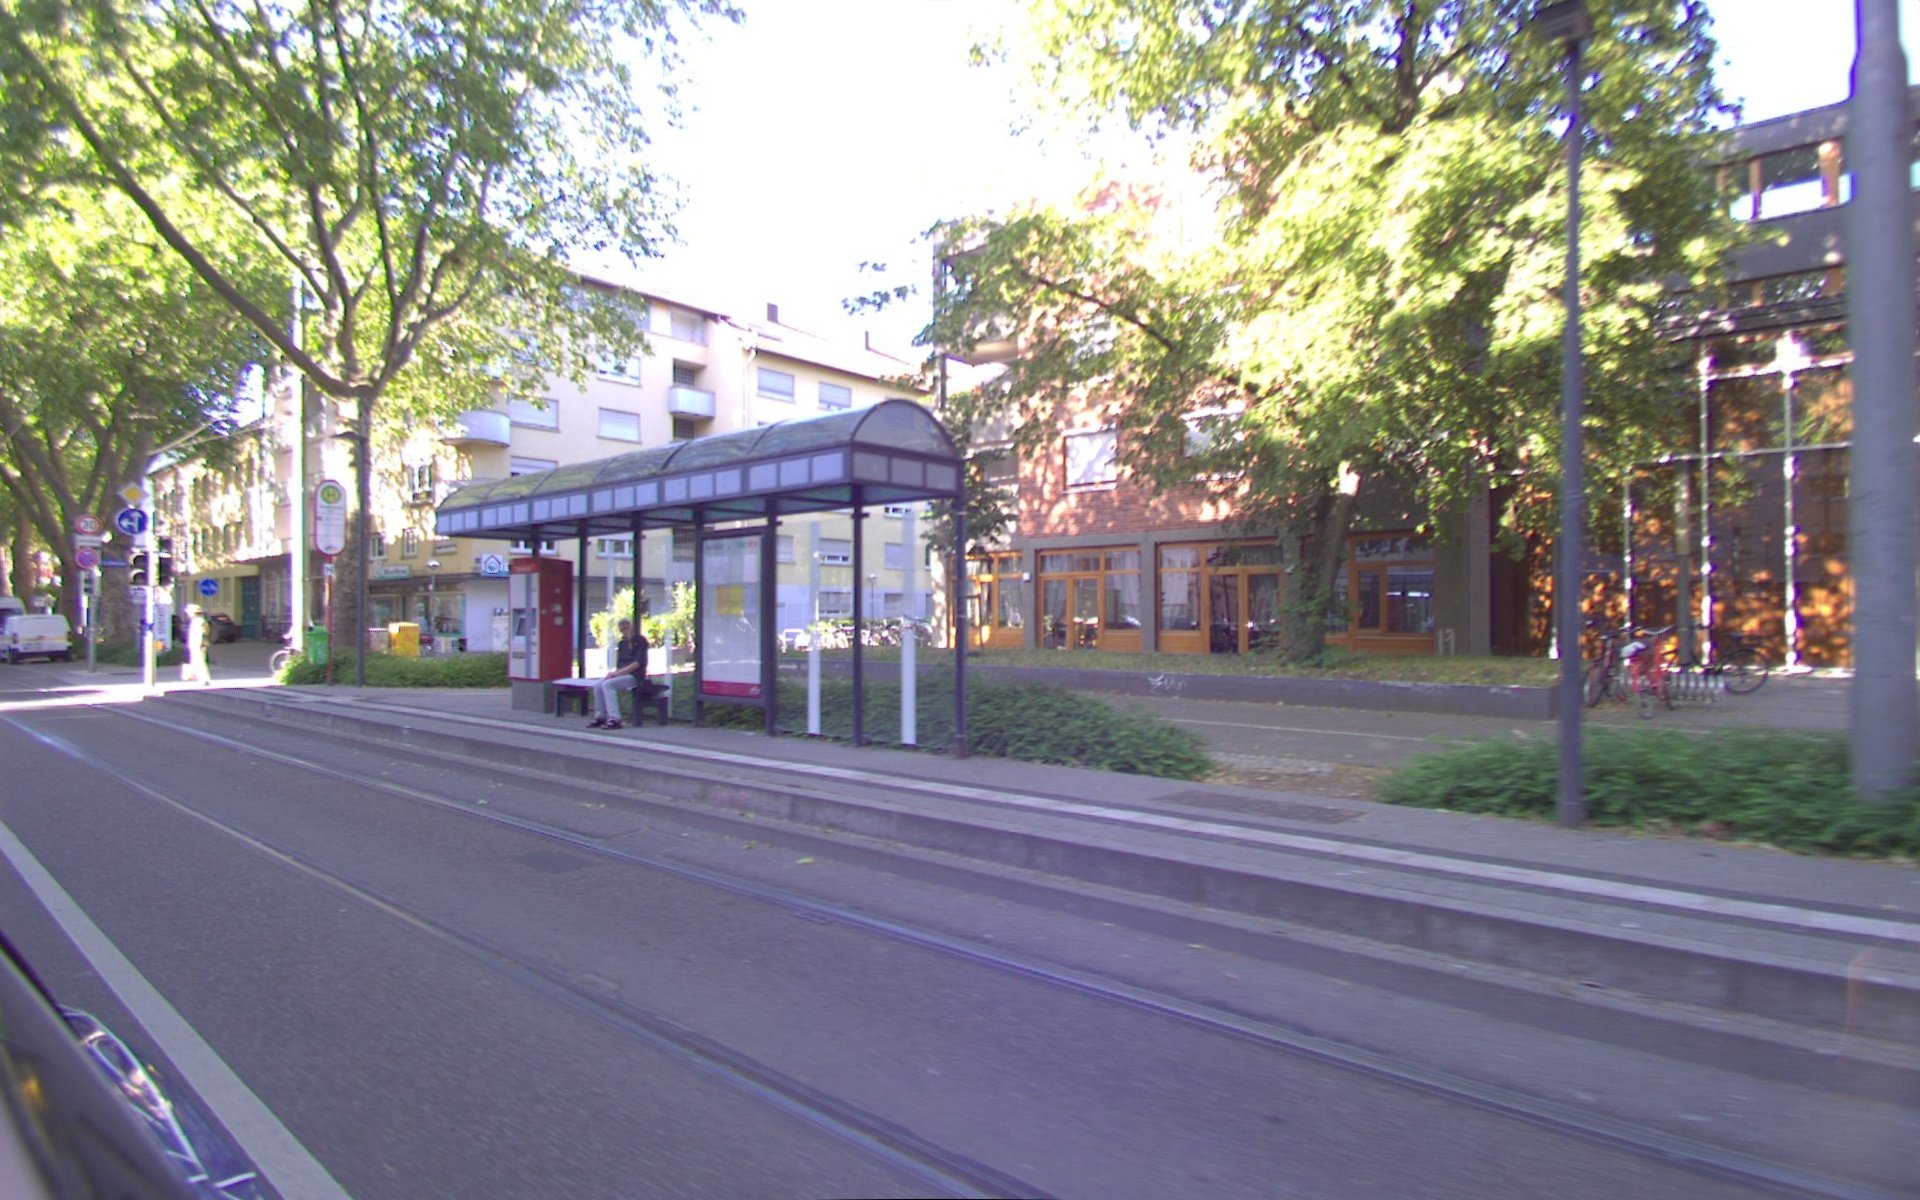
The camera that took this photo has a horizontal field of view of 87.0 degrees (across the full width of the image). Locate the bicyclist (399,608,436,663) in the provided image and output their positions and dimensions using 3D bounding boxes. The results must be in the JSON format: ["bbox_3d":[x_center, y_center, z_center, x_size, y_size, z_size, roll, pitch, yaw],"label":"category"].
[{"bbox_3d":[-18.008,1.164,33.597,0.996,1.763,0.767,-1,0,39],"label":"bicyclist"}]

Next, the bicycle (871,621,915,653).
[{"bbox_3d":[-2.386,1.305,36.089,1.637,1.092,0.536,-1,0,40],"label":"bicycle"}]

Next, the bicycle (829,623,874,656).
[{"bbox_3d":[-3.695,1.345,34.518,1.637,1.092,0.536,-1,0,40],"label":"bicycle"}]

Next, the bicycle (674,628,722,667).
[{"bbox_3d":[-7.804,1.426,30.120,1.535,1.092,0.536,-4,-3,40],"label":"bicycle"}]

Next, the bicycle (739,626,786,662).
[{"bbox_3d":[-6.208,1.384,31.775,1.637,1.092,0.536,-3,-2,40],"label":"bicycle"}]

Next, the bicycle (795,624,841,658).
[{"bbox_3d":[-4.726,1.353,33.533,1.637,1.092,0.536,-2,-2,40],"label":"bicycle"}]

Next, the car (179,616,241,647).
[{"bbox_3d":[-44.461,1.815,59.966,4.896,1.746,1.973,-1,0,42],"label":"car"}]

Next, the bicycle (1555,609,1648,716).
[{"bbox_3d":[8.611,0.782,13.532,0.682,1.228,2.432,-1,1,41],"label":"bicycle"}]

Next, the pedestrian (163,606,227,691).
[{"bbox_3d":[-17.073,1.060,22.584,0.918,1.849,0.915,-1,0,37],"label":"pedestrian"}]

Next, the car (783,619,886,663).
[{"bbox_3d":[-5.088,1.611,41.383,1.959,1.674,3.947,-1,-1,40],"label":"car"}]

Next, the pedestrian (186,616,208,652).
[{"bbox_3d":[-40.391,1.778,53.591,0.863,1.883,0.737,-1,0,39],"label":"pedestrian"}]

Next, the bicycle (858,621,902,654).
[{"bbox_3d":[-2.814,1.305,35.510,1.637,1.092,0.536,-1,0,40],"label":"bicycle"}]

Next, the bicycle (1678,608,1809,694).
[{"bbox_3d":[11.699,0.744,15.135,1.477,1.228,0.683,-1,0,-7],"label":"bicycle"}]

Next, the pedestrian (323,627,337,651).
[{"bbox_3d":[-30.150,1.847,48.405,0.436,1.114,0.417,-1,0,31],"label":"pedestrian"}]

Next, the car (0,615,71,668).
[{"bbox_3d":[-35.100,1.511,38.102,4.314,1.864,1.746,-1,0,39],"label":"car"}]

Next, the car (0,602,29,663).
[{"bbox_3d":[-43.379,1.424,45.267,6.024,2.597,2.085,-1,0,43],"label":"car"}]

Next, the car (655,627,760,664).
[{"bbox_3d":[-10.789,1.918,43.393,1.998,1.386,3.947,-1,0,40],"label":"car"}]

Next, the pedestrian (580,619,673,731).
[{"bbox_3d":[-3.652,0.801,11.089,0.658,1.177,0.698,-1,-2,38],"label":"pedestrian"}]

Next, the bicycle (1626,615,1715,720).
[{"bbox_3d":[9.115,0.808,12.945,0.682,1.175,2.316,-1,0,41],"label":"bicycle"}]

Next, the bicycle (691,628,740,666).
[{"bbox_3d":[-7.405,1.423,30.597,1.637,1.092,0.536,-4,-2,40],"label":"bicycle"}]

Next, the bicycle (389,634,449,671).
[{"bbox_3d":[-17.949,1.719,33.558,2.593,1.119,0.775,-1,0,38],"label":"bicycle"}]

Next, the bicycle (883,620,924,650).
[{"bbox_3d":[-2.174,1.321,38.567,1.637,1.092,0.536,-1,0,40],"label":"bicycle"}]
